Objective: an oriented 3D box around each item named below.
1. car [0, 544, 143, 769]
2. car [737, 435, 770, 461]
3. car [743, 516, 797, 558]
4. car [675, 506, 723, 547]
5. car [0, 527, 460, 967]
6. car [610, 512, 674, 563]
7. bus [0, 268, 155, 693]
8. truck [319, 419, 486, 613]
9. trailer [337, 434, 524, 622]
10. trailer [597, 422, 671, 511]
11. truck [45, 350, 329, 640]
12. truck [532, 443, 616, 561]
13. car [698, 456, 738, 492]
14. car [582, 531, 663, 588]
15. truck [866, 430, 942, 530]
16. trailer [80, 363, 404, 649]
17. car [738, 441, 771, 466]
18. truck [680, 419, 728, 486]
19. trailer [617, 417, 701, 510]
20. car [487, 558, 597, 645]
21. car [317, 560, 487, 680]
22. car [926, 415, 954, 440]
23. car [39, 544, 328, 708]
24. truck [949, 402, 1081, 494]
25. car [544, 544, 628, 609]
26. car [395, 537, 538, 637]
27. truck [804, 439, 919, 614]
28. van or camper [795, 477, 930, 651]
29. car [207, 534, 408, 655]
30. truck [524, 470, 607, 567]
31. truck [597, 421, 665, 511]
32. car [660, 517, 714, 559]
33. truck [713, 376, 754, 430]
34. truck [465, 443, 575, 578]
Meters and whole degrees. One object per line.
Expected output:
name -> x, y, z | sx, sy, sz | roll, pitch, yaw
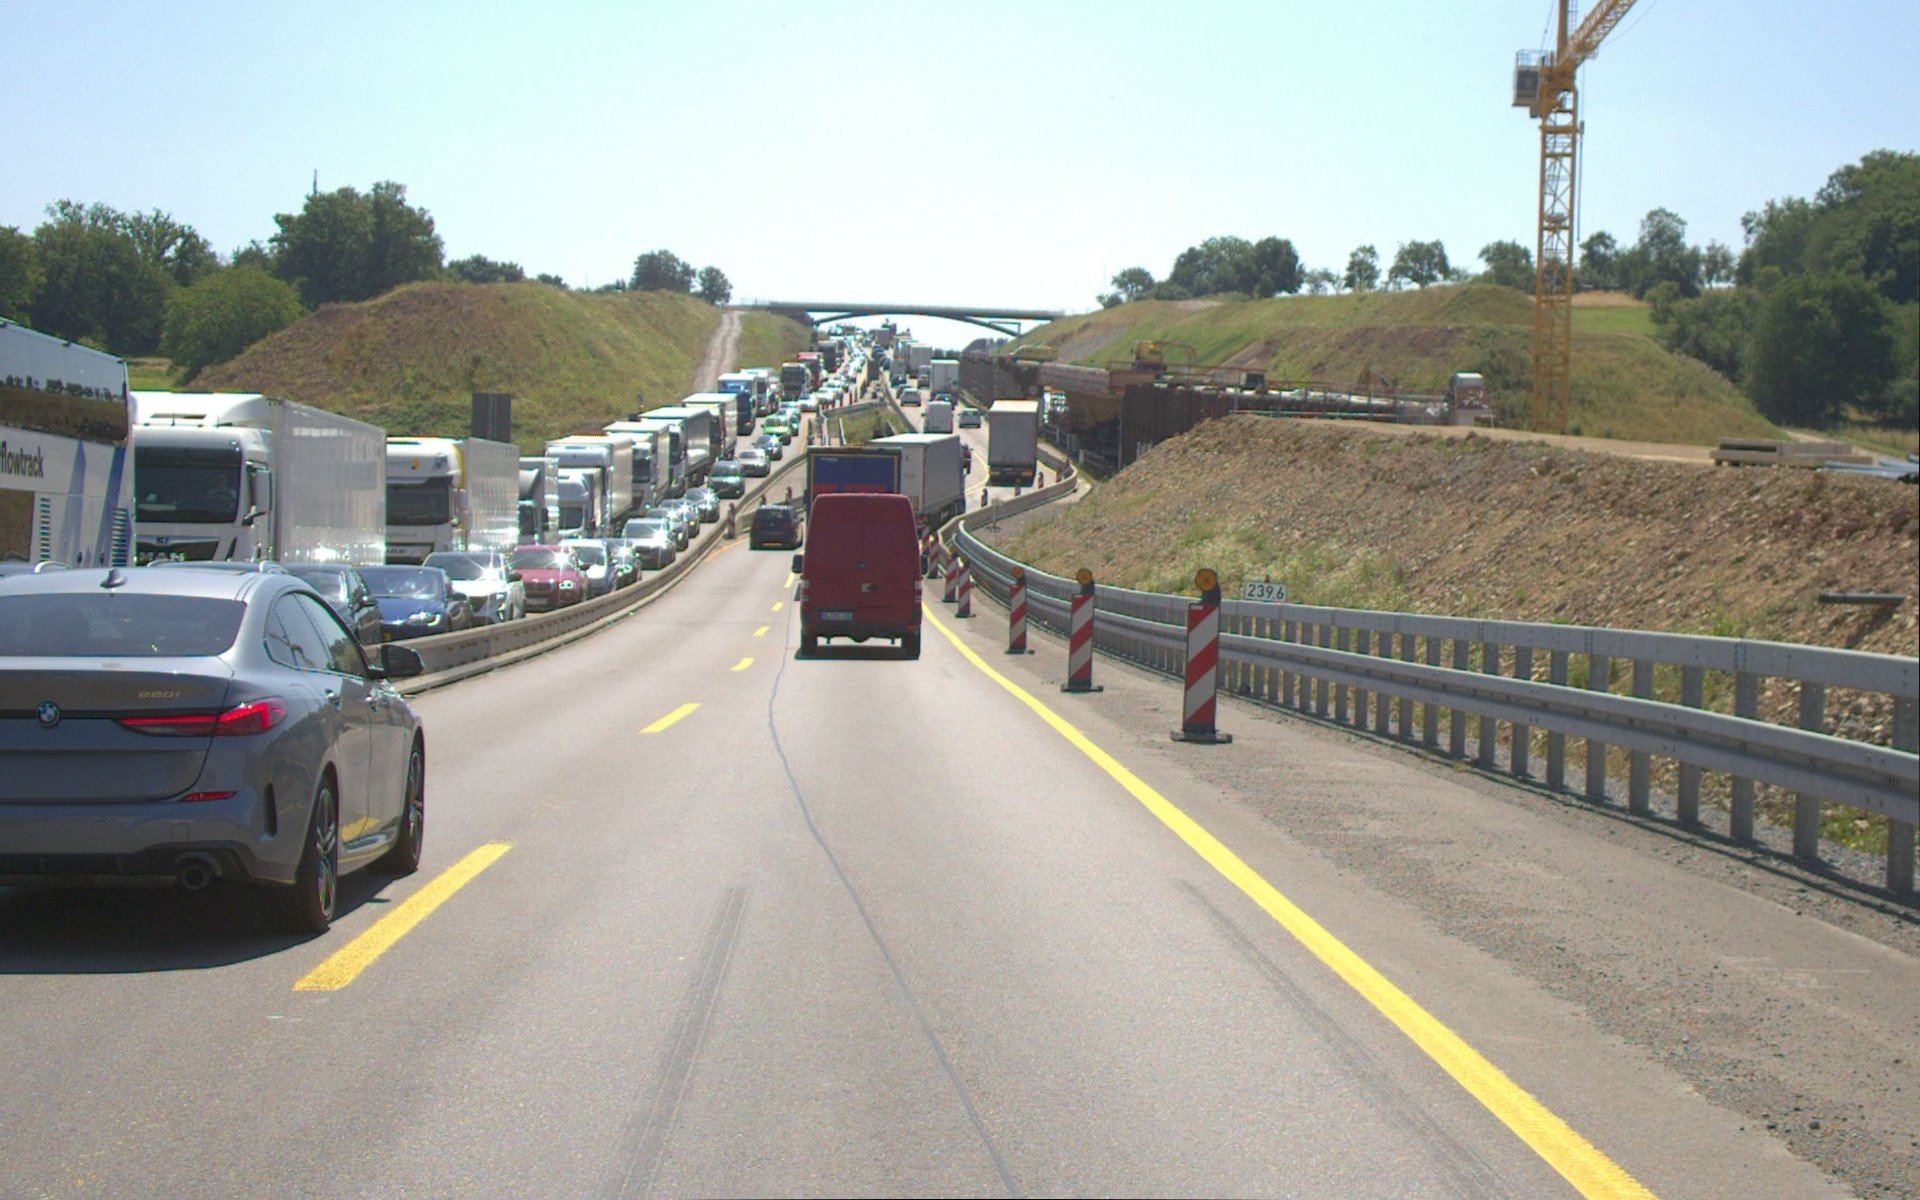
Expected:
car -> -7.481, 0.341, 25.457 | 1.838, 1.438, 4.930 | 1, 2, -2
car -> -11.797, -8.651, 196.130 | 1.747, 1.404, 4.001 | 1, 2, -2
car -> -7.325, -2.438, 132.309 | 2.011, 1.539, 4.133 | 1, 2, -3
car -> -11.676, -3.301, 153.970 | 1.993, 1.777, 4.001 | -1, 1, -3
car -> -3.344, 0.476, 14.637 | 1.851, 1.447, 4.743 | 1, 2, -2
car -> -10.617, -2.078, 115.042 | 1.827, 1.645, 4.547 | 2, 1, -2
bus -> -11.016, -1.217, 35.067 | 2.739, 4.249, 14.477 | 1, 1, -2
truck -> -12.532, -1.892, 77.694 | 2.977, 4.170, 5.875 | 1, 1, -2
trailer -> -12.833, -1.776, 84.592 | 2.985, 4.194, 13.948 | 1, 1, -2
trailer -> -15.104, -6.141, 159.933 | 2.783, 3.918, 11.010 | 1, 1, -2
truck -> -11.931, -1.630, 53.670 | 3.097, 4.183, 6.703 | 1, 2, -2
truck -> -14.238, -3.663, 127.084 | 2.550, 4.216, 6.531 | 1, 2, -2
car -> -12.360, -6.437, 175.736 | 1.993, 1.777, 4.001 | 1, 2, -3
car -> -9.618, -1.177, 98.276 | 1.993, 1.551, 4.339 | -1, 1, -2
truck -> -2.427, -5.038, 146.044 | 3.038, 4.086, 7.086 | 0, 1, -2
trailer -> -12.199, -1.601, 60.009 | 3.140, 4.368, 14.080 | 1, 1, -2
car -> -12.882, -9.189, 215.882 | 1.952, 1.524, 4.268 | 1, 2, -2
truck -> -15.007, -8.656, 201.923 | 2.683, 3.826, 7.388 | 1, 2, -4
trailer -> -15.328, -6.978, 175.962 | 3.042, 4.536, 12.128 | 1, 2, 1
car -> -9.052, 0.011, 74.795 | 1.993, 1.625, 4.759 | 2, 2, -3
car -> -7.967, 0.246, 49.448 | 1.812, 1.432, 5.122 | 2, 2, -3
car -> -1.497, -12.718, 253.716 | 1.952, 1.635, 4.268 | 1, 1, -2
car -> -7.757, 0.203, 34.818 | 1.918, 1.418, 5.091 | 2, 1, -2
truck -> 3.255, -8.644, 196.904 | 5.162, 4.979, 13.871 | -1, 2, 11
car -> -9.403, -0.593, 86.662 | 1.827, 1.568, 4.000 | 1, 0, -2
car -> -8.600, -0.258, 60.241 | 1.993, 1.615, 4.883 | -1, 1, -3
truck -> -2.748, -2.108, 96.104 | 3.020, 4.676, 6.933 | -1, 2, -2
van or camper -> -1.662, -0.648, 56.882 | 2.029, 2.734, 4.516 | 1, 2, -4
car -> -8.097, -0.093, 43.009 | 1.832, 1.418, 4.684 | 1, 1, -3
truck -> -13.448, -2.831, 117.552 | 2.433, 3.137, 7.025 | 0, 3, -3
truck -> -14.827, -6.011, 155.170 | 2.782, 3.856, 5.462 | 1, 1, -3
car -> -10.350, -2.370, 130.482 | 1.827, 1.530, 4.547 | -1, 1, -2
truck -> -16.838, -14.627, 255.613 | 2.887, 3.826, 8.004 | 1, 2, -4
truck -> -13.115, -2.696, 103.067 | 2.524, 3.842, 8.673 | 1, 2, -3
